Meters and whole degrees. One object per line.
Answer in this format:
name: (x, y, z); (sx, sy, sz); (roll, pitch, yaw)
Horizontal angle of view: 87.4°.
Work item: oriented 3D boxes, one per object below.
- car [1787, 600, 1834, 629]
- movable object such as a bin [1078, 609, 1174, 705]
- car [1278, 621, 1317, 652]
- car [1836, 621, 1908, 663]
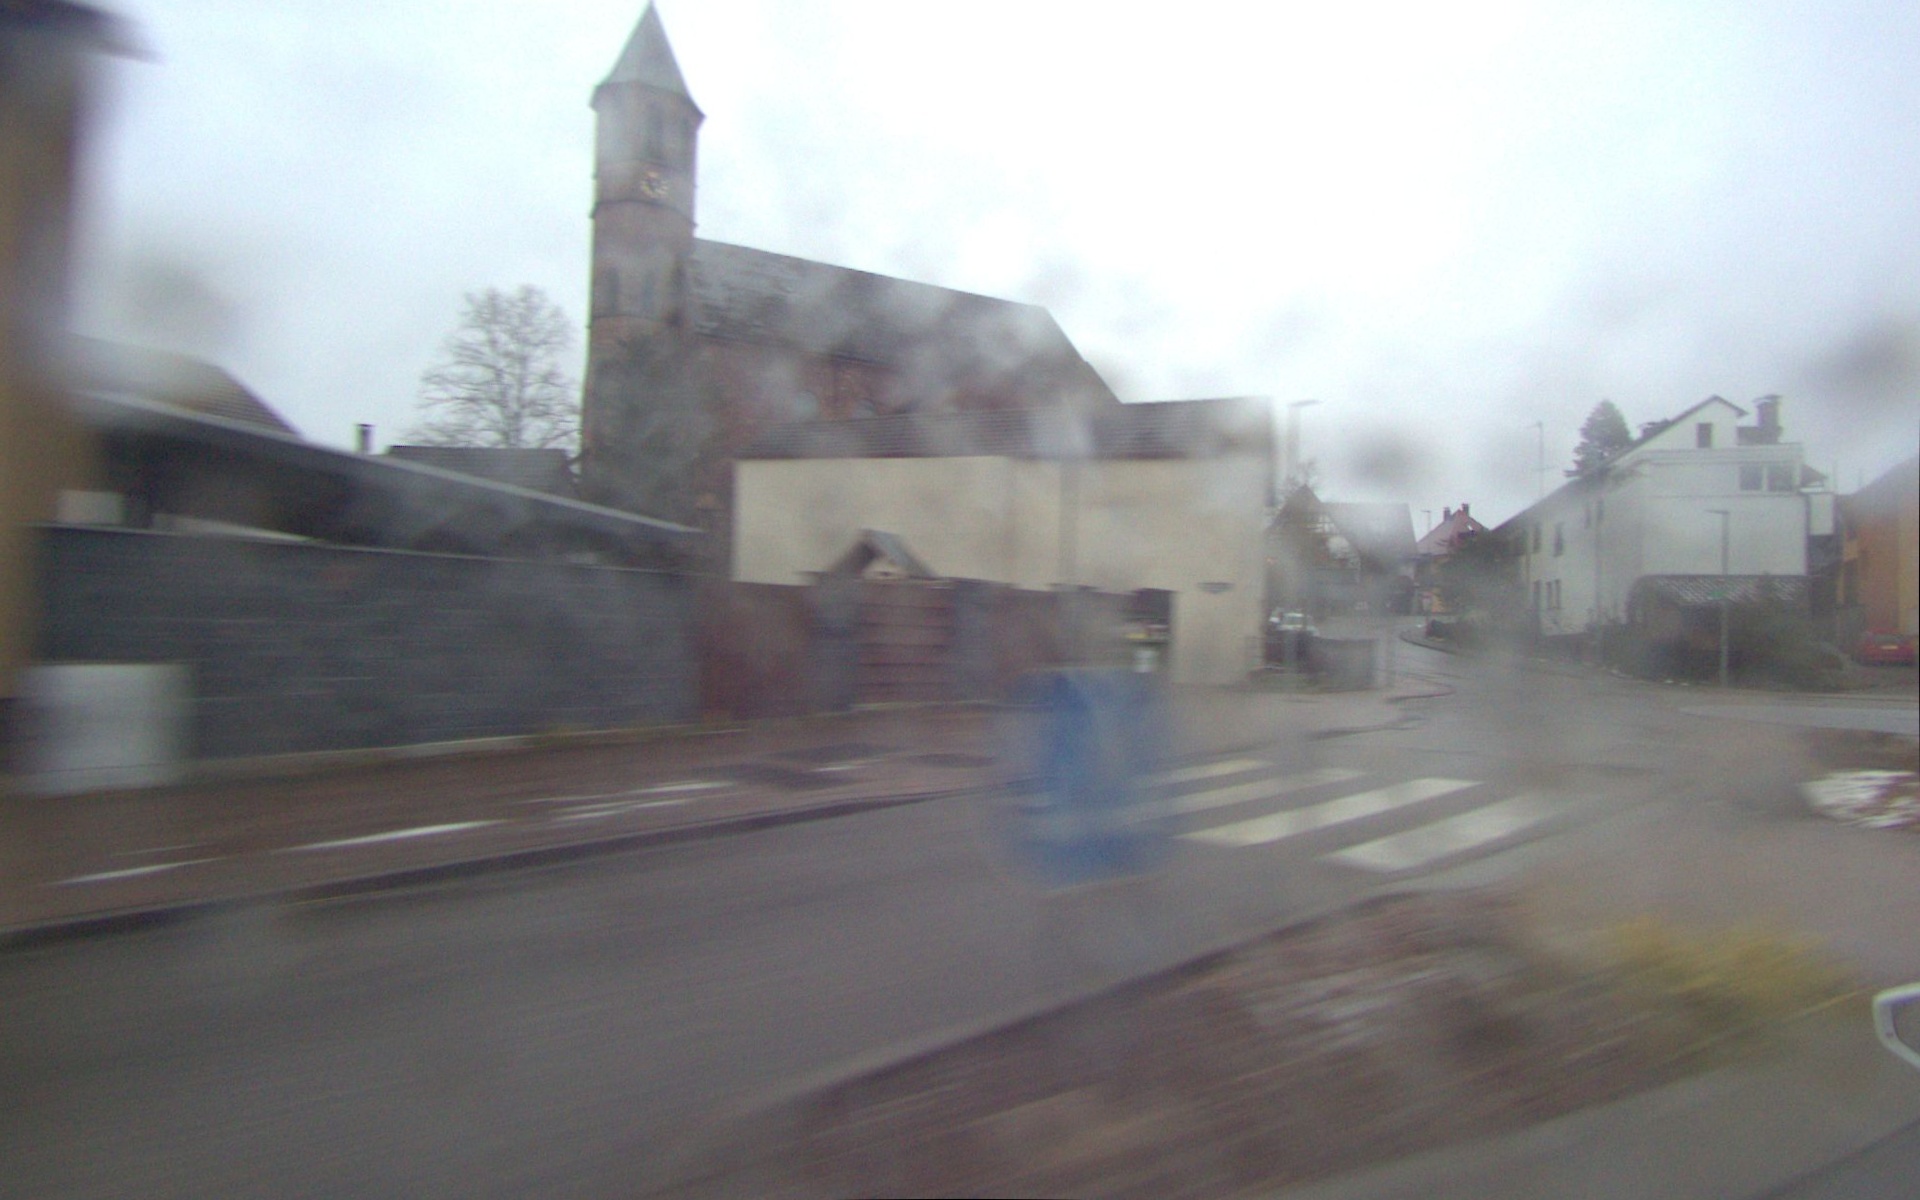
car: (51.361, 0.867, 60.702); (1.969, 1.666, 3.984); (0, -1, 38)
movable object such as a bin: (2.836, 0.946, 17.117); (1.280, 1.563, 1.085); (2, -2, -44)
car: (17.700, 1.888, 52.756); (1.895, 1.537, 4.001); (0, -2, 18)
car: (38.962, 1.740, 43.008); (1.969, 1.666, 3.984); (0, -1, 38)
